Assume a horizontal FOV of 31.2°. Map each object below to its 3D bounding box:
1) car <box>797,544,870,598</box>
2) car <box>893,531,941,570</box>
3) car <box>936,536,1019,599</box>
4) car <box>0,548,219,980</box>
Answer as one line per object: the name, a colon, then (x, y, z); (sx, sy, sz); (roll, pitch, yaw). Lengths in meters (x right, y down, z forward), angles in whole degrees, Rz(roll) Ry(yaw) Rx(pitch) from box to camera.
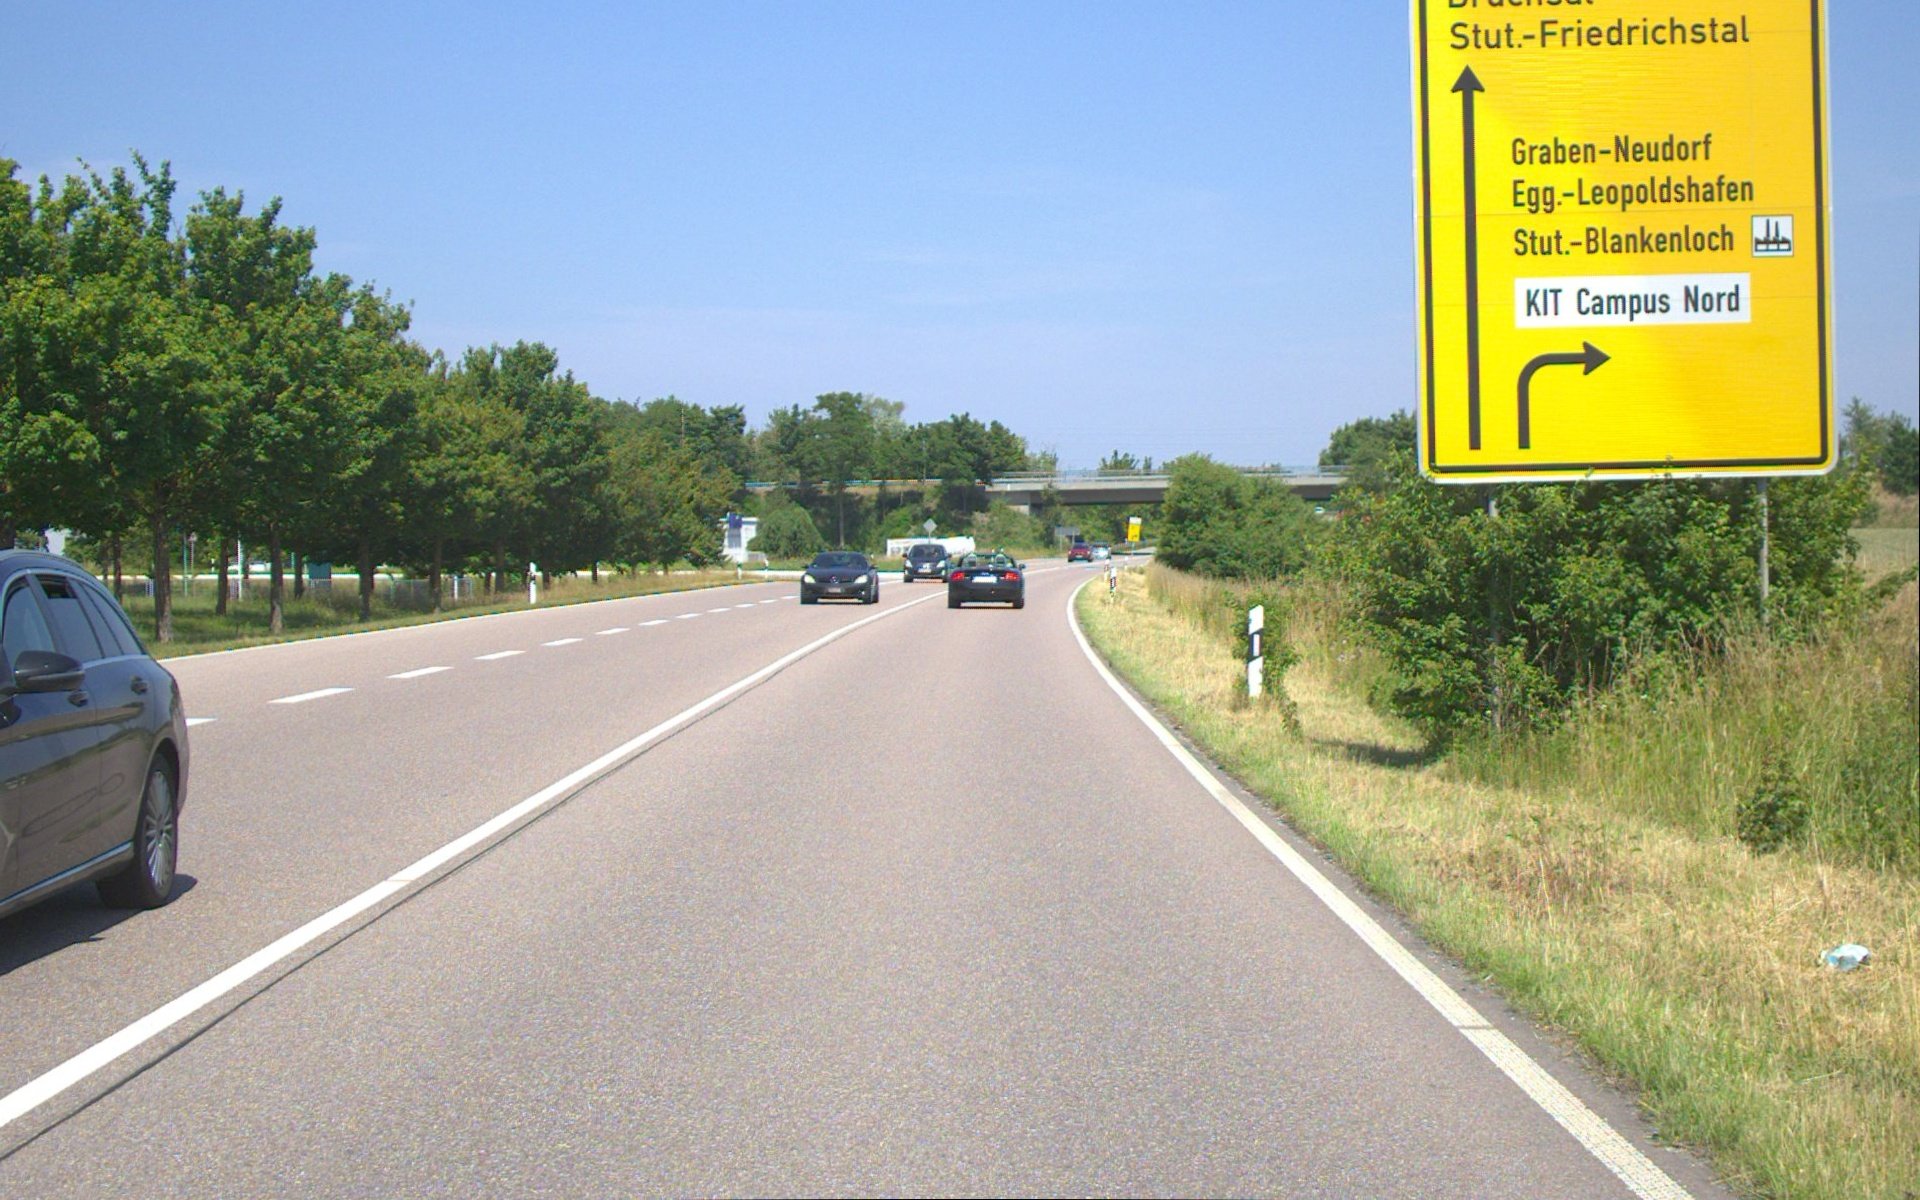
car: (-3.011, -0.717, 82.571); (1.636, 1.264, 3.812); (0, 1, -1)
car: (-1.658, -1.941, 133.847); (1.680, 1.494, 3.886); (0, 1, 2)
car: (0.386, -0.777, 80.961); (1.814, 1.436, 4.000); (1, 1, -1)
car: (-4.076, 0.525, 12.567); (1.781, 1.415, 4.534); (0, 1, 0)
